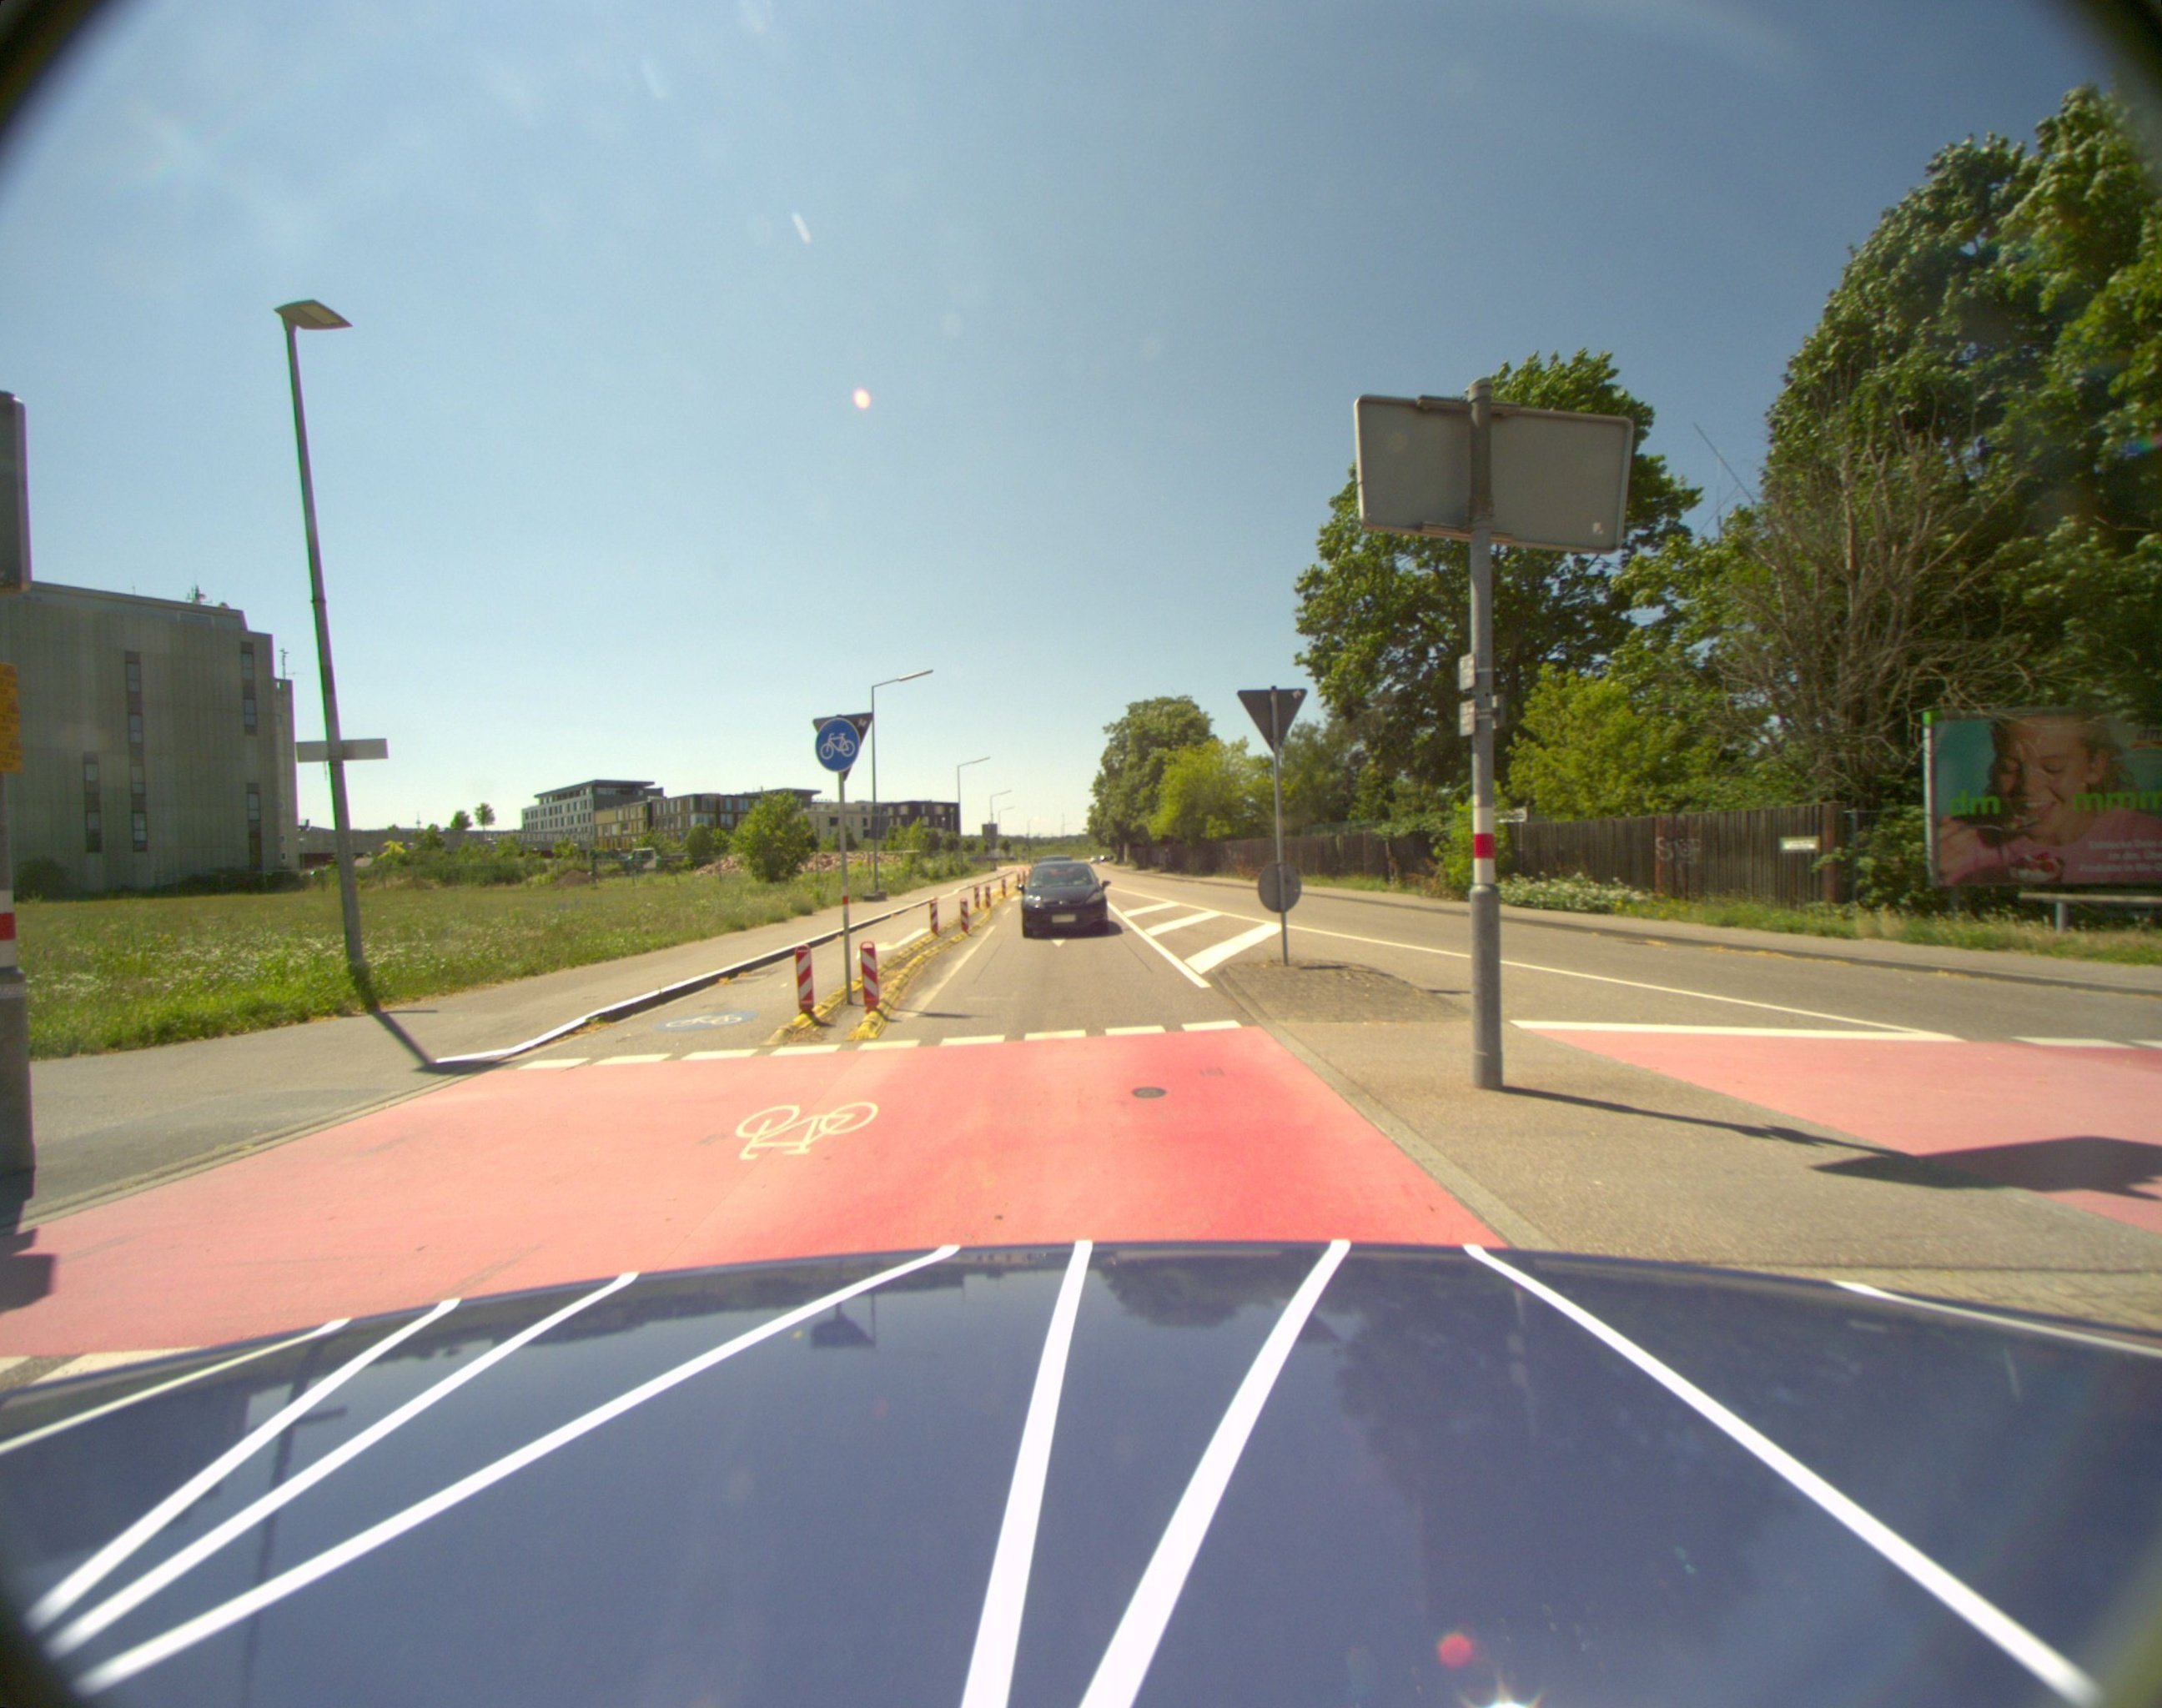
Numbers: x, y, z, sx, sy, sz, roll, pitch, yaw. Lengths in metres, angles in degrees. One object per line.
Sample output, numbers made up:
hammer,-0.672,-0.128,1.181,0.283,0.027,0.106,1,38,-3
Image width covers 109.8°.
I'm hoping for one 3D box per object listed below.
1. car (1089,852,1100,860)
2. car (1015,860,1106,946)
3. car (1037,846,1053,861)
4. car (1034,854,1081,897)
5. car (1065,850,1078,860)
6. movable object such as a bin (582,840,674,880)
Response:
car,2.630,0.350,146.803,1.719,1.455,3.840,0,0,-7
car,-0.396,0.919,15.855,1.633,1.499,3.818,-2,0,-1
car,-4.202,-0.063,87.284,1.759,1.536,3.693,-2,0,-4
car,-0.903,0.793,30.234,1.720,1.518,4.211,-2,0,-1
car,-1.553,0.205,122.857,1.759,1.536,3.693,-2,0,-4
movable object such as a bin,-39.660,0.432,66.903,2.811,3.131,7.607,-3,1,6
